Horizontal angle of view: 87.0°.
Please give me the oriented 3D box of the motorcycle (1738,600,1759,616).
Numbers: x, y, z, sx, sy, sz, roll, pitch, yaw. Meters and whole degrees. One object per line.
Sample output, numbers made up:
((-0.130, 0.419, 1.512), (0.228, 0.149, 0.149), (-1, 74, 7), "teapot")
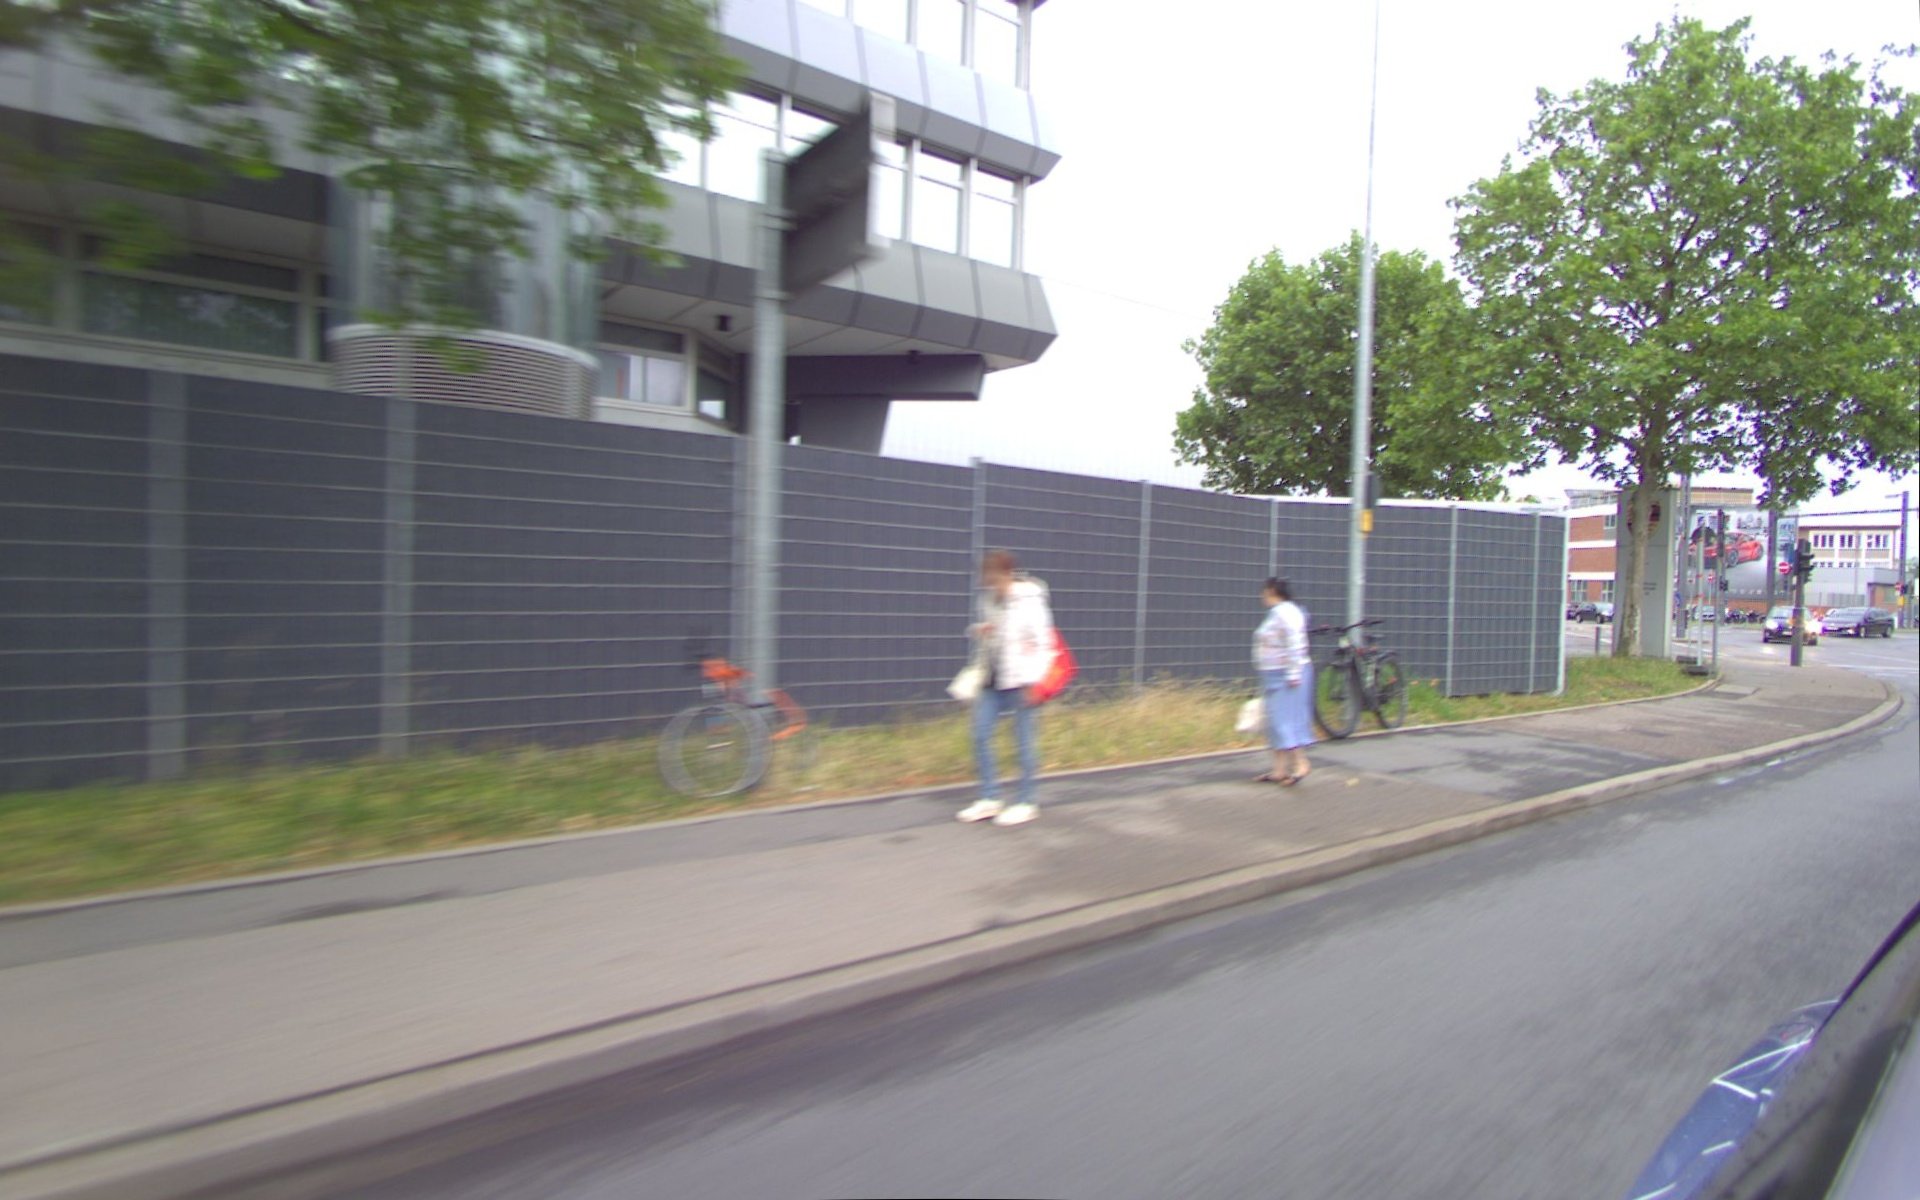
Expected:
((62.932, 0.629, 80.804), (0.469, 1.133, 1.806), (-2, 1, 7), "motorcycle")

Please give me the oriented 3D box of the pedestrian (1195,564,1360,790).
((2.355, 0.517, 7.517), (0.820, 1.539, 0.840), (1, 1, -44), "pedestrian")

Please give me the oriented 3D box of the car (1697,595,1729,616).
((57.192, 0.380, 76.909), (1.612, 1.522, 3.212), (1, 1, 31), "car")

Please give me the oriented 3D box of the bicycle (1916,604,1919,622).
((63.035, 0.832, 65.290), (2.042, 1.144, 0.420), (-2, 1, 13), "bicycle")

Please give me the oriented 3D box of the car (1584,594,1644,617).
((43.545, 0.335, 67.451), (1.690, 1.443, 3.994), (0, 1, 5), "car")

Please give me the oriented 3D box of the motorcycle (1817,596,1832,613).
((70.503, 0.355, 82.510), (1.638, 1.350, 0.524), (-2, 1, -34), "motorcycle")

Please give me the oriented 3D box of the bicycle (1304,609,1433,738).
((4.014, 0.670, 9.863), (1.939, 1.132, 0.342), (0, 1, -43), "bicycle")

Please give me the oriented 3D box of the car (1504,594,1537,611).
((53.607, 0.244, 96.834), (1.433, 1.461, 3.461), (-2, 1, 5), "car")

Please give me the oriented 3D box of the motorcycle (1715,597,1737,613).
((61.352, 0.378, 81.039), (0.535, 1.195, 1.711), (-2, 1, 5), "motorcycle")

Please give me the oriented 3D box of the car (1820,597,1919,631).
((44.458, 0.684, 48.925), (4.020, 1.493, 1.738), (-1, 1, 22), "car")

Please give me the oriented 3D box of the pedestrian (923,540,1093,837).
((0.302, 0.470, 6.038), (0.704, 1.612, 0.833), (2, 1, 27), "pedestrian")

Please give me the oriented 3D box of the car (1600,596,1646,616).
((53.754, 0.456, 82.106), (1.521, 1.512, 2.757), (2, 0, -18), "car")

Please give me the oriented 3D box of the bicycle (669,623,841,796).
((-1.363, 0.686, 7.044), (0.506, 0.965, 1.695), (2, 1, 13), "bicycle")

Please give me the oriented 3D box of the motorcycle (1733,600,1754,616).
((58.854, 0.612, 76.068), (0.487, 1.160, 1.718), (-2, 1, 11), "motorcycle")

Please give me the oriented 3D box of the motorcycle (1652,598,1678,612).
((58.034, 0.407, 83.284), (1.622, 1.124, 0.543), (-2, 1, 10), "motorcycle")

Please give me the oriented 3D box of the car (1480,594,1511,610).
((53.776, 0.164, 101.703), (1.433, 1.461, 3.385), (-2, 1, 5), "car")

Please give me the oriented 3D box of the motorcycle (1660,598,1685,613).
((57.950, 0.436, 82.340), (1.576, 1.134, 0.543), (-2, 1, 10), "motorcycle")

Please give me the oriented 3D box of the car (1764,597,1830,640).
((33.648, 0.703, 40.777), (1.684, 1.526, 3.962), (-1, 2, 35), "car")
